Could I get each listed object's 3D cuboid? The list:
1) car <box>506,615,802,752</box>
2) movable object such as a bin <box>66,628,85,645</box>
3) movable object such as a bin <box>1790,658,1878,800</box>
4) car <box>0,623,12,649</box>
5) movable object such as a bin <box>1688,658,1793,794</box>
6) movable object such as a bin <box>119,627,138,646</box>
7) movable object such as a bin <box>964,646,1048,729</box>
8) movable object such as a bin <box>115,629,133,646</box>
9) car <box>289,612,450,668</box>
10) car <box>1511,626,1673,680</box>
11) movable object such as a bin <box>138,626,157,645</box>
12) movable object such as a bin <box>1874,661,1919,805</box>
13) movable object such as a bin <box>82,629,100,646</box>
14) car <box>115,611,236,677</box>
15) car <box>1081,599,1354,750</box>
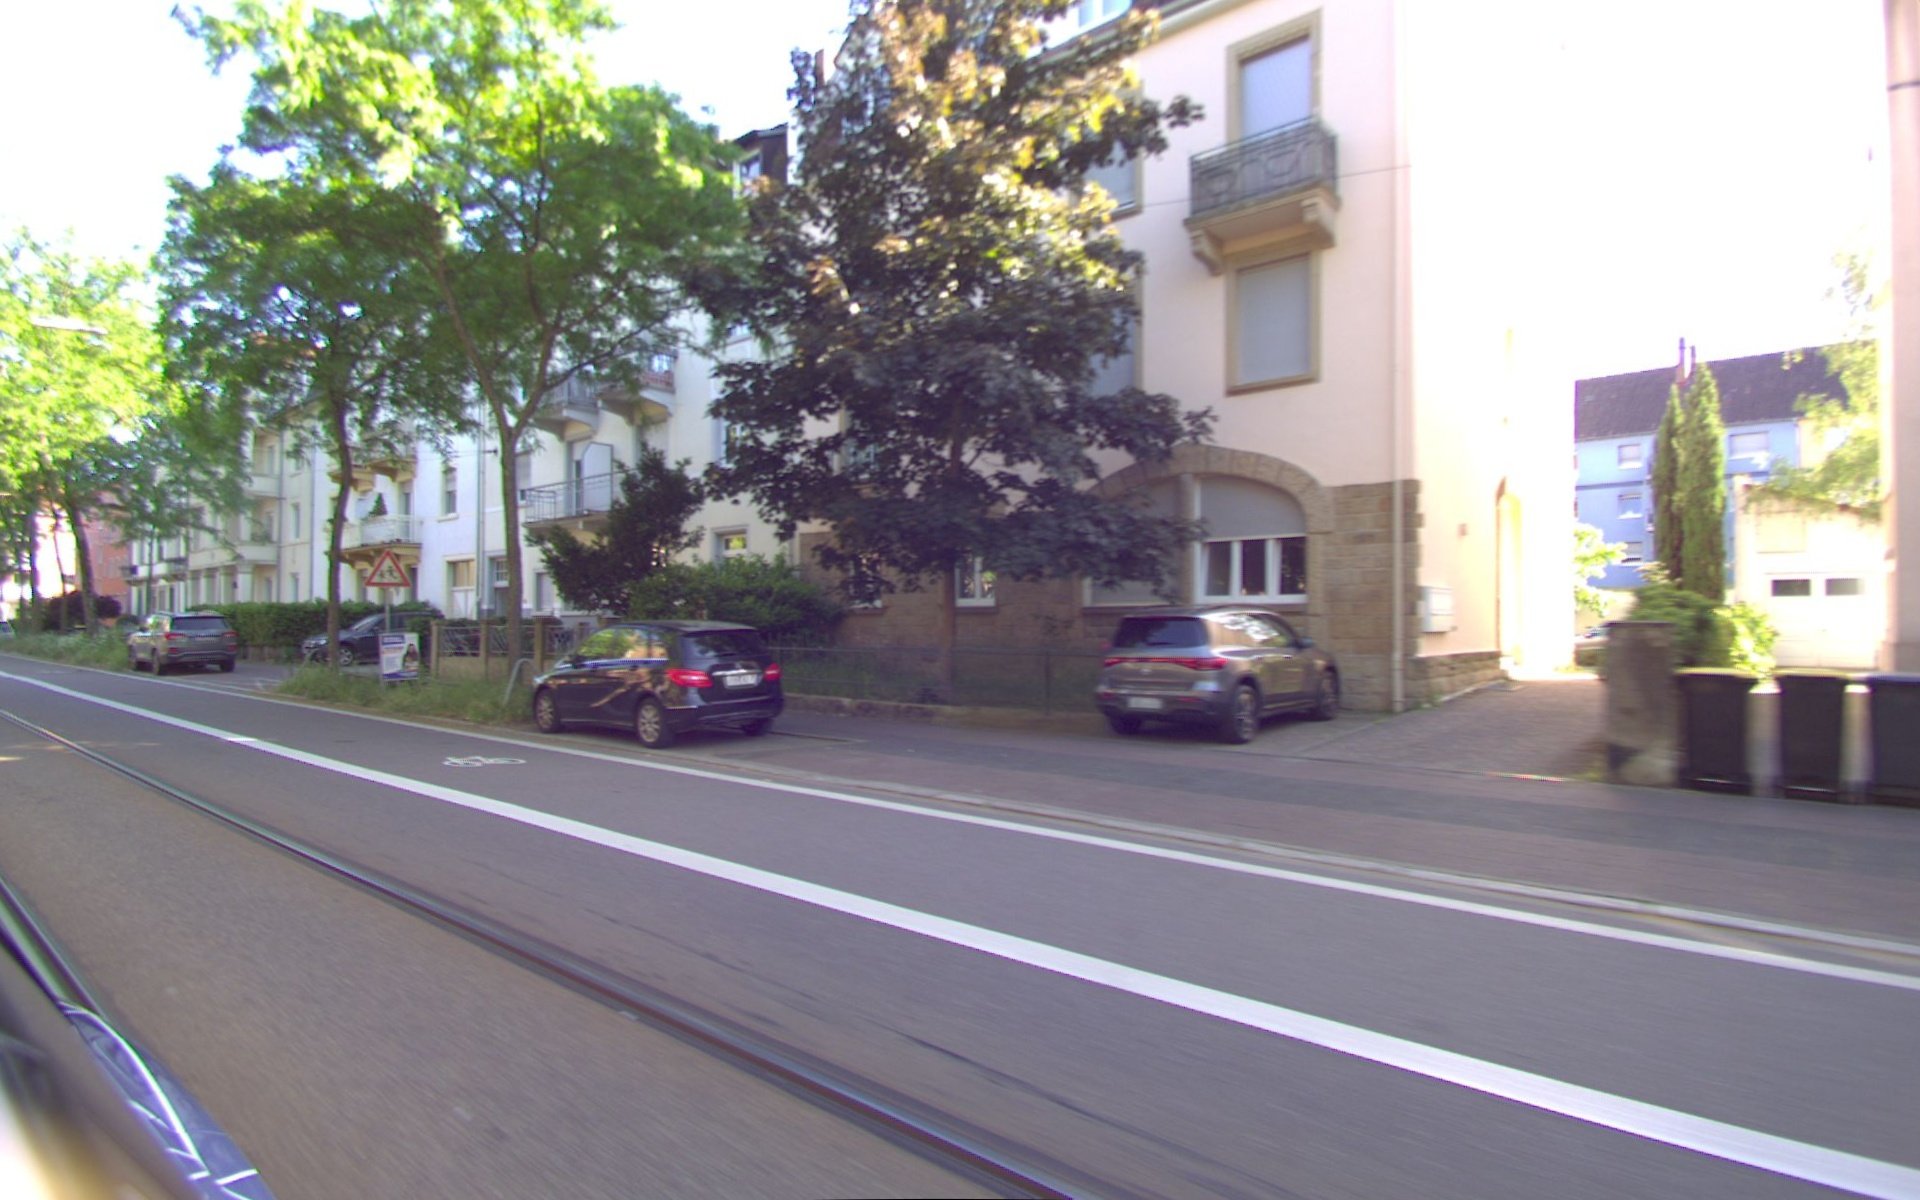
[{"bbox_3d":[-4.288,1.005,13.790,4.483,1.553,1.758,-1,-1,41],"label":"car"},{"bbox_3d":[-55.752,2.300,63.778,0.895,1.049,0.730,-1,-2,41],"label":"movable object such as a bin"},{"bbox_3d":[7.096,1.023,8.227,0.510,1.074,0.541,-1,-2,41],"label":"movable object such as a bin"},{"bbox_3d":[-59.656,2.209,62.159,3.686,1.547,1.609,-1,-1,39],"label":"car"},{"bbox_3d":[6.645,1.043,8.619,0.670,1.074,0.535,-1,-2,41],"label":"movable object such as a bin"},{"bbox_3d":[-41.541,1.823,50.585,0.739,0.928,0.621,-1,-1,41],"label":"movable object such as a bin"},{"bbox_3d":[0.641,1.185,13.976,0.813,1.074,0.866,-1,-2,41],"label":"movable object such as a bin"},{"bbox_3d":[-54.199,2.423,65.624,0.895,1.122,0.730,-1,-2,41],"label":"movable object such as a bin"},{"bbox_3d":[-19.541,1.285,33.615,1.952,1.673,4.255,-1,-1,42],"label":"car"},{"bbox_3d":[19.288,1.563,30.972,3.998,1.529,1.551,-1,-2,41],"label":"car"},{"bbox_3d":[-40.946,1.766,50.985,0.739,0.928,0.621,-1,-1,41],"label":"movable object such as a bin"},{"bbox_3d":[7.483,1.022,7.882,0.510,1.074,0.541,-1,-2,41],"label":"movable object such as a bin"},{"bbox_3d":[-55.261,2.406,64.337,0.895,1.062,0.730,-1,-2,41],"label":"movable object such as a bin"},{"bbox_3d":[-23.688,1.282,30.517,4.766,1.837,1.852,-1,-1,39],"label":"car"},{"bbox_3d":[3.554,0.849,13.469,1.981,1.671,4.125,-1,-1,39],"label":"car"}]
